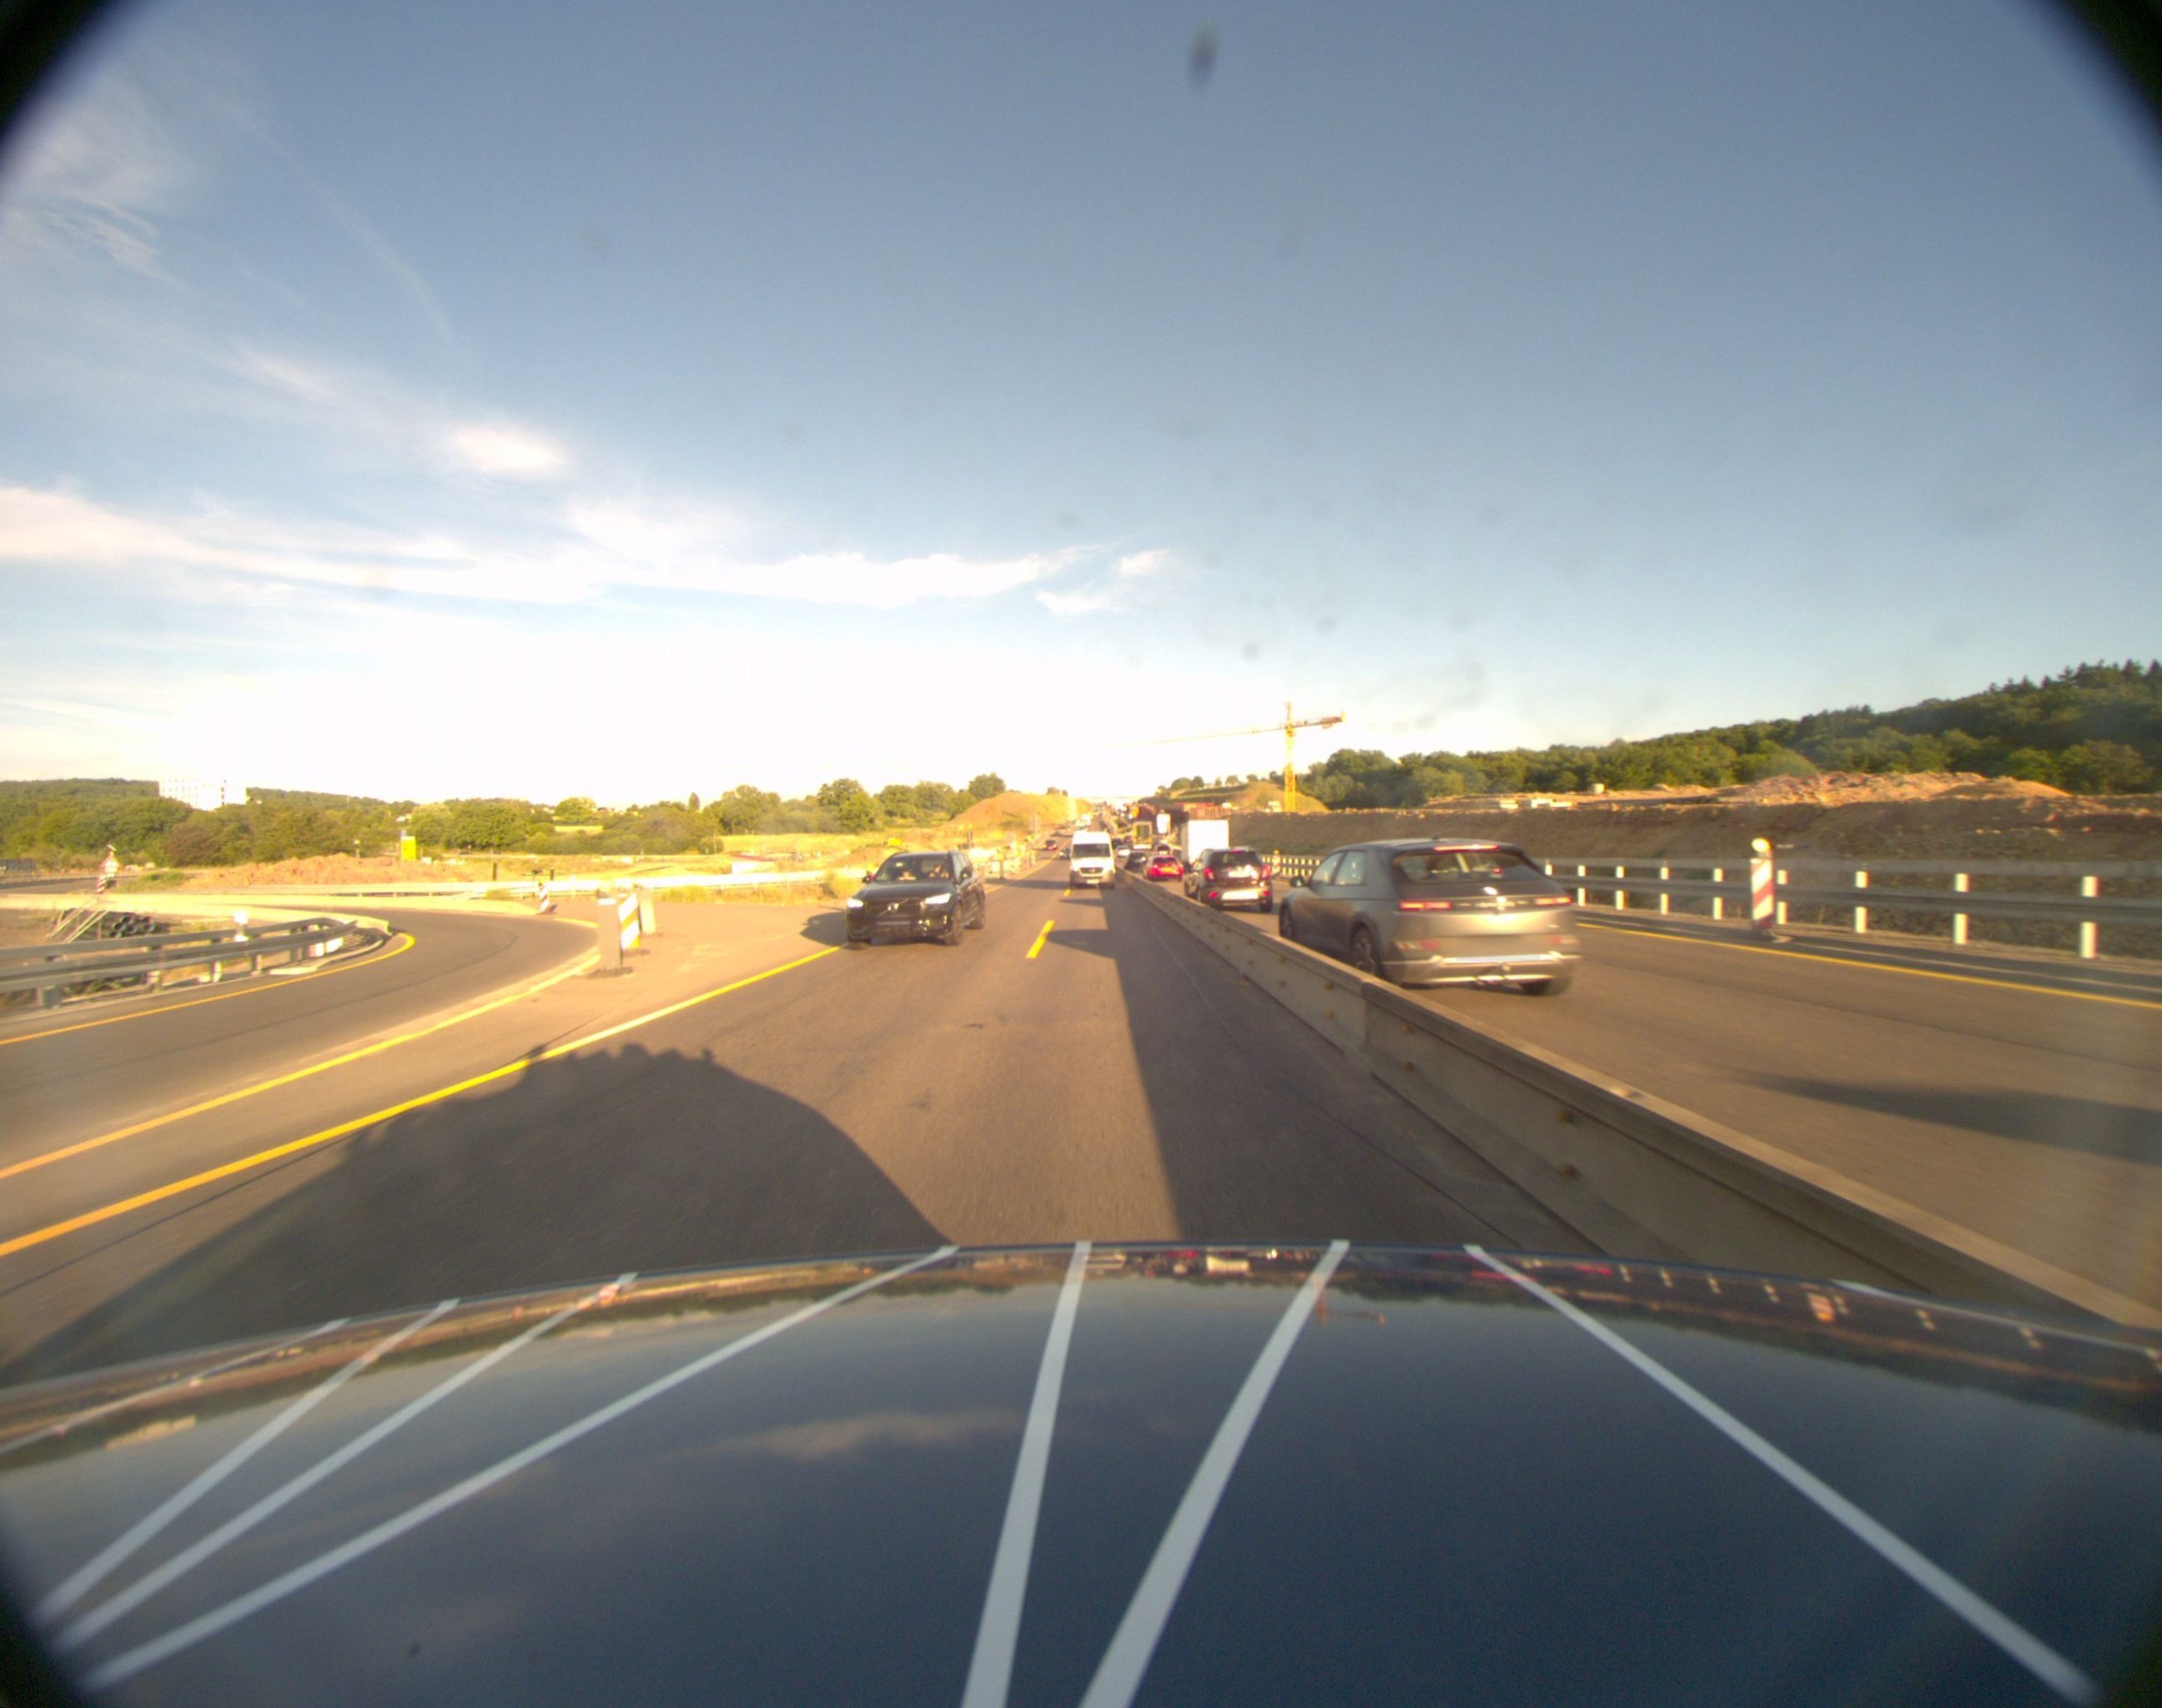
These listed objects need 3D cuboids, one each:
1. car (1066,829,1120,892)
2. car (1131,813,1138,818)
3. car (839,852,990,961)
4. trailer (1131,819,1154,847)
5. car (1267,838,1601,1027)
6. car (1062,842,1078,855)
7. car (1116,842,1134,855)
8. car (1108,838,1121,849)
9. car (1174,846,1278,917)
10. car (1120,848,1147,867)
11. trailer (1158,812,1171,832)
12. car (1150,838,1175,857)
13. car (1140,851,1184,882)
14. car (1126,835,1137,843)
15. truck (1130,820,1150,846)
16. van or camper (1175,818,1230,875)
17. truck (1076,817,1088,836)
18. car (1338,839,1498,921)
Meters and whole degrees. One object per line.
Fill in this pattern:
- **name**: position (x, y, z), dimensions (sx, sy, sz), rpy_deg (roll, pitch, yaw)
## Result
- **car**: position (0.557, 0.235, 33.770), dimensions (2.109, 2.518, 5.220), rpy_deg (-2, 0, 2)
- **car**: position (17.289, -12.450, 244.493), dimensions (1.792, 1.611, 4.873), rpy_deg (-2, 4, 9)
- **car**: position (-3.080, 0.871, 15.151), dimensions (1.902, 1.703, 4.886), rpy_deg (-2, 1, 0)
- **trailer**: position (9.360, -3.220, 117.441), dimensions (2.780, 4.008, 13.680), rpy_deg (-1, 1, 2)
- **car**: position (3.603, 0.653, 8.862), dimensions (1.747, 1.574, 4.705), rpy_deg (-2, 1, 1)
- **car**: position (-1.354, -0.688, 91.566), dimensions (1.791, 1.477, 3.999), rpy_deg (-2, 1, 0)
- **car**: position (5.268, -0.673, 91.575), dimensions (1.866, 1.424, 4.154), rpy_deg (-2, 1, 1)
- **car**: position (5.353, -1.683, 122.148), dimensions (1.916, 1.600, 4.493), rpy_deg (-2, 2, 1)
- **car**: position (3.690, 0.631, 20.195), dimensions (1.832, 1.630, 4.529), rpy_deg (-2, 1, 0)
- **car**: position (4.279, 0.283, 62.387), dimensions (1.820, 1.454, 4.705), rpy_deg (-2, 1, 0)
- **trailer**: position (18.554, -7.291, 169.503), dimensions (2.536, 4.191, 13.931), rpy_deg (-3, 3, 5)
- **car**: position (8.168, -0.698, 76.468), dimensions (1.998, 1.754, 4.439), rpy_deg (-2, 1, 1)
- **car**: position (4.243, 0.625, 40.573), dimensions (1.820, 1.454, 4.705), rpy_deg (-2, 1, 0)
- **car**: position (9.262, -2.727, 138.705), dimensions (1.719, 1.402, 4.327), rpy_deg (-1, 2, 6)
- **truck**: position (9.565, -3.384, 123.653), dimensions (2.776, 4.058, 5.775), rpy_deg (-1, 2, 2)
- **van or camper**: position (8.047, -0.477, 51.093), dimensions (2.464, 3.478, 7.412), rpy_deg (-2, 1, 1)
- **truck**: position (0.217, -5.999, 165.126), dimensions (2.264, 3.708, 6.567), rpy_deg (-4, 4, -1)
- **car**: position (7.394, 0.494, 17.190), dimensions (1.695, 1.559, 4.292), rpy_deg (-2, 1, 0)
